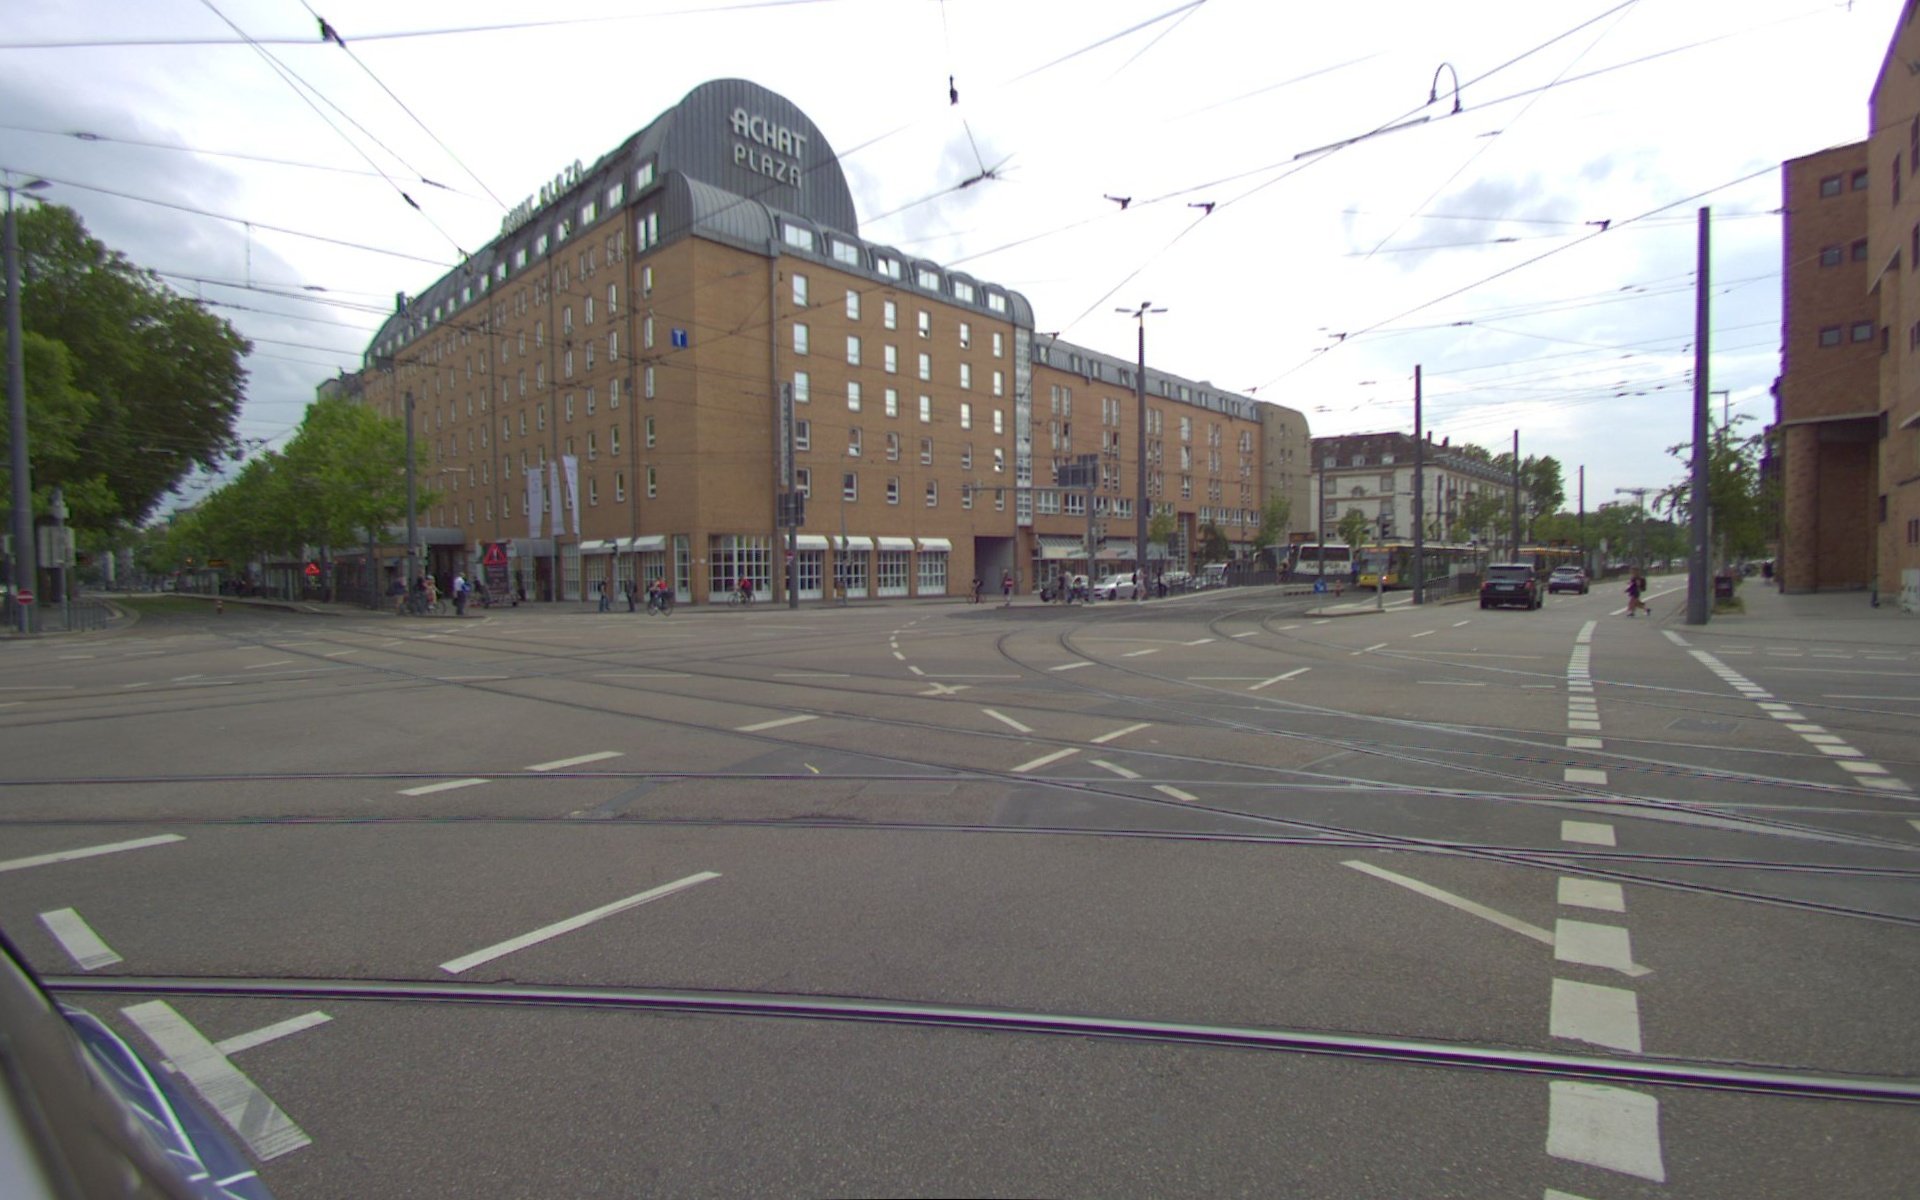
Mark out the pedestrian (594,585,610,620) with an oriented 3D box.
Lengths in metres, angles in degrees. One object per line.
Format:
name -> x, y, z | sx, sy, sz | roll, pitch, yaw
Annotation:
pedestrian -> -17.999, 0.115, 50.920 | 0.535, 1.719, 0.556 | 1, 2, 44

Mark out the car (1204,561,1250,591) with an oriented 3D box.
car -> 20.547, -1.838, 77.732 | 1.700, 2.247, 4.774 | 1, 2, 38

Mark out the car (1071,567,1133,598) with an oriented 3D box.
car -> 8.187, -1.025, 58.085 | 1.798, 1.696, 3.948 | 1, 2, 38

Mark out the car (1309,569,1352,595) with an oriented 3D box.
car -> 31.185, -1.518, 85.128 | 1.998, 2.183, 4.511 | 0, 1, 39

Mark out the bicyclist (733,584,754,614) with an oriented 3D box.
bicyclist -> -11.302, -0.054, 52.851 | 0.636, 1.512, 0.853 | 1, 2, 43

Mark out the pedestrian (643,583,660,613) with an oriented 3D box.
pedestrian -> -15.960, -0.119, 52.352 | 0.642, 1.518, 0.534 | 0, 1, 7

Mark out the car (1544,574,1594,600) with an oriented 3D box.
car -> 35.623, -0.791, 59.156 | 1.932, 1.442, 4.247 | 1, 2, 39

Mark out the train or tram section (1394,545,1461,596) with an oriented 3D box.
train or tram section -> 33.858, -2.121, 73.161 | 2.575, 3.476, 7.522 | 0, 1, 39

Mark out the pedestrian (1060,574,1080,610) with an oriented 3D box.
pedestrian -> 5.336, -0.407, 49.037 | 0.749, 1.744, 0.572 | 1, 2, 35

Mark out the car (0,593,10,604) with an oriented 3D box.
car -> -150.052, -0.250, 158.269 | 3.997, 1.721, 1.647 | 1, 2, 40

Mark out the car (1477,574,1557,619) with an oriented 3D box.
car -> 21.753, -0.189, 39.424 | 1.932, 1.620, 4.472 | 1, 2, 39

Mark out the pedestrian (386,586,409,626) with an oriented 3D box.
pedestrian -> -24.444, 0.236, 44.013 | 0.533, 1.719, 0.677 | 1, 2, 33

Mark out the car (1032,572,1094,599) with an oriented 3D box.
car -> 6.088, -0.857, 59.391 | 1.798, 1.490, 3.948 | 0, 1, 39

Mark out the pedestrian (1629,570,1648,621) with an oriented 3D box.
pedestrian -> 23.003, -0.149, 34.319 | 0.460, 1.722, 0.475 | 1, 2, 44

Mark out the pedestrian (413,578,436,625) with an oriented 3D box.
pedestrian -> -22.614, 0.041, 42.736 | 0.534, 1.966, 0.684 | 1, 2, 39

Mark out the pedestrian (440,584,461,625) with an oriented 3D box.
pedestrian -> -21.476, 0.194, 42.645 | 0.577, 1.719, 0.557 | 1, 2, 33

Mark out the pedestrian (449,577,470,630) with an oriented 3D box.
pedestrian -> -20.729, 0.143, 41.881 | 0.533, 2.146, 0.557 | 1, 2, 33

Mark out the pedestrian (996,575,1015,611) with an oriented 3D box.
pedestrian -> 2.261, -0.354, 50.463 | 0.749, 1.745, 0.572 | 0, 1, 35

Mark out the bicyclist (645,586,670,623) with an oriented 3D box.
bicyclist -> -12.477, 0.188, 41.750 | 0.816, 1.512, 0.643 | 1, 2, 37

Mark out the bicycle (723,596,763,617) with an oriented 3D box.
bicycle -> -11.323, 0.329, 52.838 | 0.640, 1.016, 2.031 | 1, 2, 43

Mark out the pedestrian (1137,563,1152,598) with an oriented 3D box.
pedestrian -> 9.161, -0.984, 50.263 | 0.576, 1.744, 0.625 | 0, 2, 31

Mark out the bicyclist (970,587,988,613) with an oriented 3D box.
bicyclist -> 1.100, 0.003, 58.487 | 0.636, 1.512, 0.854 | 0, 1, 39

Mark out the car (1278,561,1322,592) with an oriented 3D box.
car -> 26.727, -1.880, 79.421 | 1.700, 2.337, 5.019 | 0, 1, 38

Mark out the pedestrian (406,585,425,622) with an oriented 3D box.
pedestrian -> -25.253, 0.157, 46.947 | 0.533, 1.719, 0.557 | 1, 2, 33

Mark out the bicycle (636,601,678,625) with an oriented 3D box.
bicycle -> -12.522, 0.533, 41.789 | 1.890, 0.943, 0.651 | 1, 2, 37

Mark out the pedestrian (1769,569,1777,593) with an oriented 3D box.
pedestrian -> 59.938, -1.410, 74.576 | 0.432, 1.722, 0.525 | 0, 2, 37

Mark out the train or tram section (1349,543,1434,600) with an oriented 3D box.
train or tram section -> 28.531, -1.882, 66.623 | 2.575, 3.476, 9.482 | 0, 1, 39

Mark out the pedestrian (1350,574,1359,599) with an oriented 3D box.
pedestrian -> 27.269, -0.954, 69.936 | 0.542, 1.745, 0.487 | 0, 1, 32

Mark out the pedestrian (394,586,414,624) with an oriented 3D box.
pedestrian -> -25.143, 0.229, 45.757 | 0.533, 1.719, 0.557 | 1, 2, 33

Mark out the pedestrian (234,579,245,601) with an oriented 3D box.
pedestrian -> -56.780, -0.798, 79.743 | 0.639, 1.719, 0.625 | -2, 1, -44

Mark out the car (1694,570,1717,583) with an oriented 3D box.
car -> 79.526, -2.479, 107.945 | 1.695, 1.303, 3.947 | 1, 2, 40

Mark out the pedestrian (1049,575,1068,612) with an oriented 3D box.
pedestrian -> 4.709, -0.299, 48.384 | 0.749, 1.744, 0.572 | 1, 2, 35

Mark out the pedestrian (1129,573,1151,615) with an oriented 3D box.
pedestrian -> 7.589, -0.260, 42.740 | 0.750, 1.744, 0.571 | 1, 2, 40

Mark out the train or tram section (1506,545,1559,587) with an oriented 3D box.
train or tram section -> 50.300, -2.988, 88.777 | 2.449, 3.476, 9.482 | 0, 1, 39

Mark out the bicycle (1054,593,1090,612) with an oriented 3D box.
bicycle -> 5.477, 0.138, 49.582 | 1.790, 0.895, 0.474 | 1, 2, 40

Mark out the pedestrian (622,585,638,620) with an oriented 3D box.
pedestrian -> -16.203, 0.114, 49.709 | 0.535, 1.719, 0.556 | 1, 2, 42

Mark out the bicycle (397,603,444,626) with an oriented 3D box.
bicycle -> -22.905, 0.593, 42.953 | 0.499, 0.895, 1.688 | 1, 2, 44

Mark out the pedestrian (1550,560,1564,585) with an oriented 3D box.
pedestrian -> 49.006, -2.265, 83.036 | 0.779, 2.029, 1.213 | 0, 1, 40

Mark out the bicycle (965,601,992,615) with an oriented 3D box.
bicycle -> 1.091, 0.454, 58.480 | 0.639, 0.787, 1.774 | 1, 2, 39
